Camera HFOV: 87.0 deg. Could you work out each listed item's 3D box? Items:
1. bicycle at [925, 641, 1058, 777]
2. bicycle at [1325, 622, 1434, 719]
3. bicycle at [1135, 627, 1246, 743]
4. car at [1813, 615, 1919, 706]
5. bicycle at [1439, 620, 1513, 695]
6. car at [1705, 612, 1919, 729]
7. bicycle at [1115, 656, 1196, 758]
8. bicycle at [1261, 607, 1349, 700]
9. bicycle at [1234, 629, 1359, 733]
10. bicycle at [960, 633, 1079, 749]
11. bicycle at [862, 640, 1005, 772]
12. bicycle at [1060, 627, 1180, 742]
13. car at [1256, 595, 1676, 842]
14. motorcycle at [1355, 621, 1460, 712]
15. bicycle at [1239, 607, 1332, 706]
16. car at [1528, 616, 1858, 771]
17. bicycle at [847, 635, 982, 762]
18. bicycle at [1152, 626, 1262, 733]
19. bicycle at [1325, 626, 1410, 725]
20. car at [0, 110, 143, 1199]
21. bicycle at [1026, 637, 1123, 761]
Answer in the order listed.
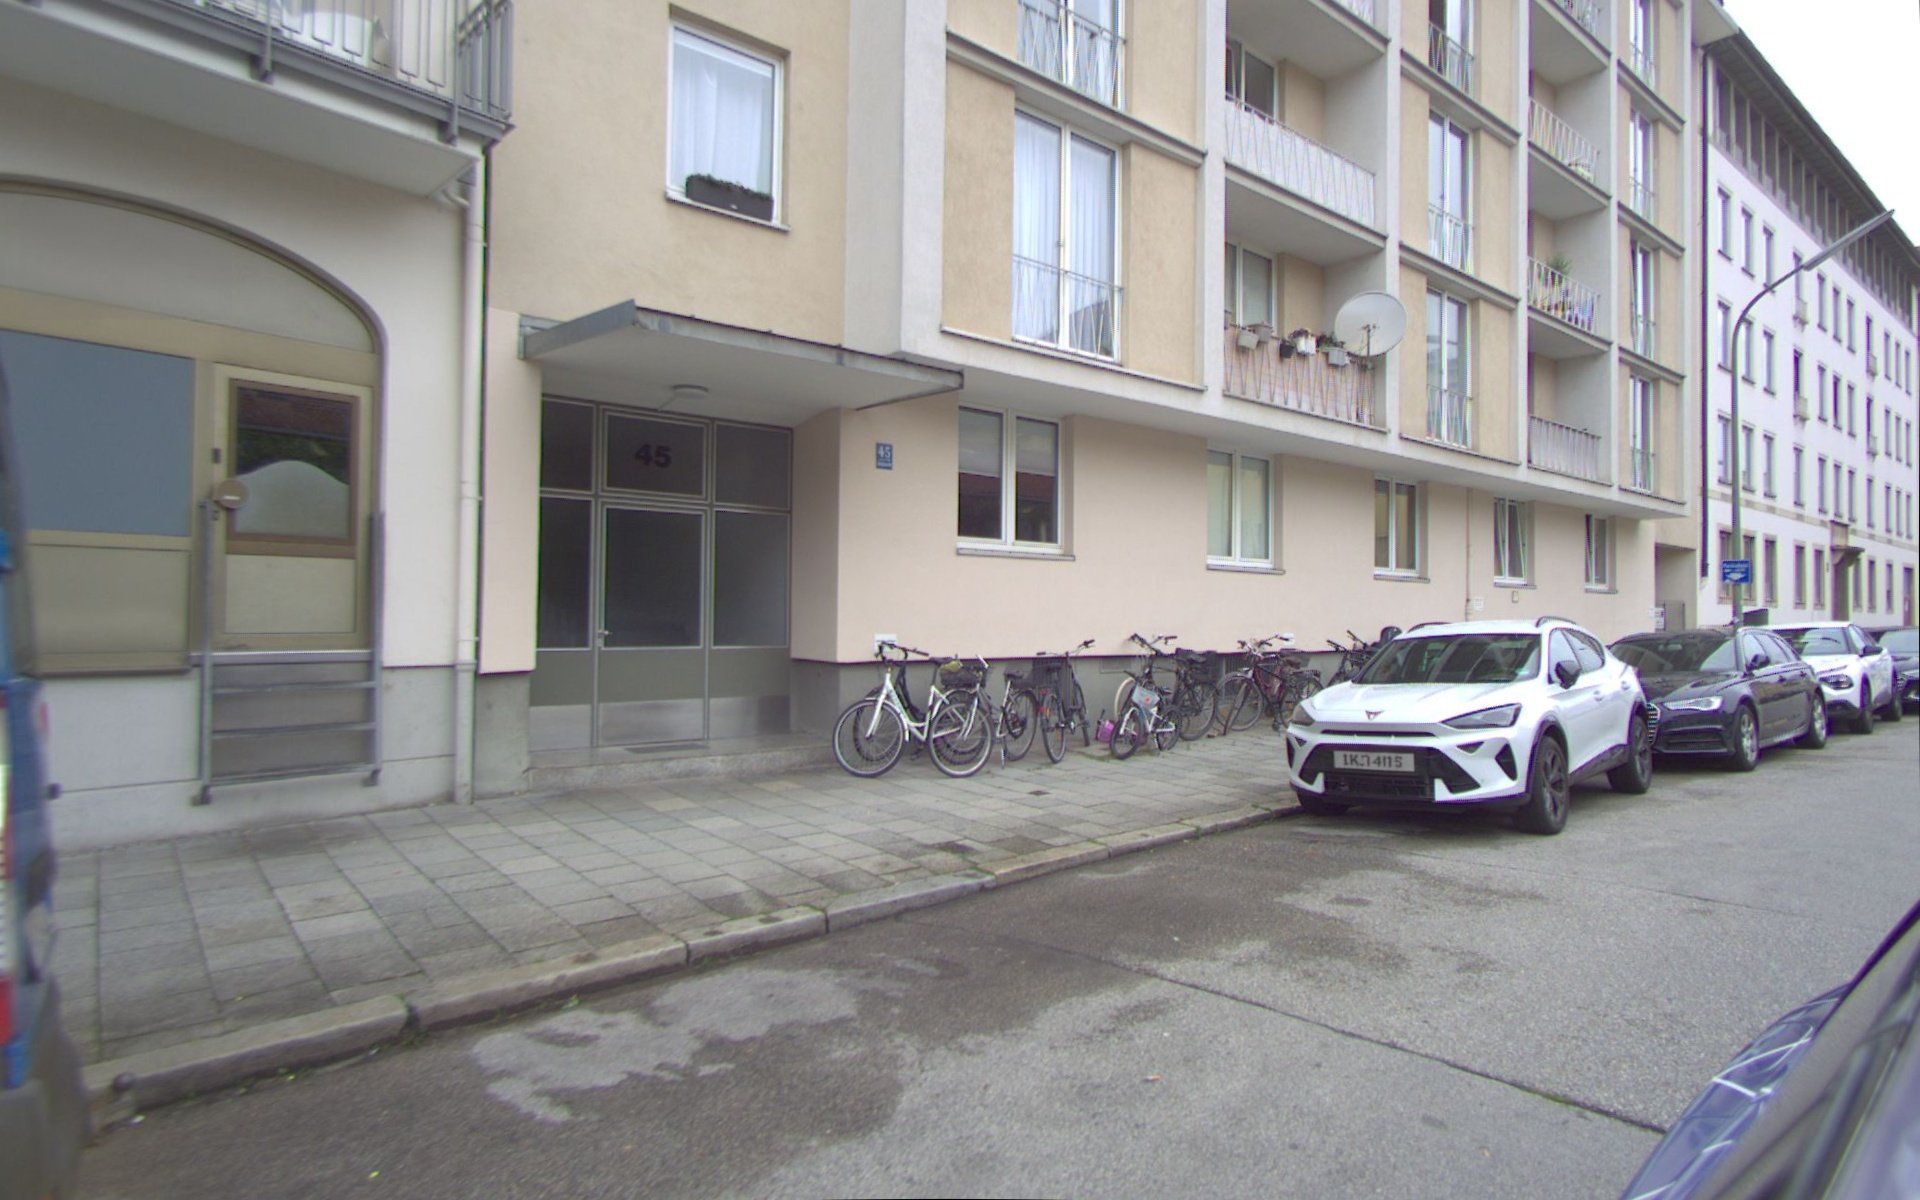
[{"bbox_3d":[0.310,0.975,9.427,1.324,1.115,0.391,0,3,-44],"label":"bicycle"},{"bbox_3d":[5.975,0.981,14.458,1.335,1.216,0.388,4,3,39],"label":"bicycle"},{"bbox_3d":[2.619,0.938,11.480,1.257,1.216,0.415,1,2,-32],"label":"bicycle"},{"bbox_3d":[16.367,0.988,17.276,4.408,1.400,1.831,1,-4,-38],"label":"car"},{"bbox_3d":[8.634,0.940,16.911,1.572,1.171,0.515,1,0,-40],"label":"bicycle"},{"bbox_3d":[12.578,0.980,14.815,4.047,1.488,1.704,1,-5,-40],"label":"car"},{"bbox_3d":[2.081,1.100,10.703,0.444,0.905,1.185,3,3,31],"label":"bicycle"},{"bbox_3d":[4.800,0.718,14.063,1.316,1.216,0.394,0,3,-33],"label":"bicycle"},{"bbox_3d":[4.175,0.980,12.535,1.534,1.216,0.399,1,2,-23],"label":"bicycle"},{"bbox_3d":[0.647,0.934,10.754,1.322,1.115,0.370,0,3,-38],"label":"bicycle"},{"bbox_3d":[-0.233,0.966,9.575,1.362,1.115,0.370,0,3,-38],"label":"bicycle"},{"bbox_3d":[1.858,0.947,11.681,1.367,1.216,0.448,1,2,-32],"label":"bicycle"},{"bbox_3d":[4.397,0.852,8.472,4.232,1.543,1.776,2,-6,-44],"label":"car"},{"bbox_3d":[6.888,0.980,15.529,2.004,1.287,0.637,1,0,-40],"label":"motorcycle"},{"bbox_3d":[4.248,0.710,13.189,1.260,1.216,0.418,0,3,-35],"label":"bicycle"},{"bbox_3d":[8.507,0.970,11.594,4.607,1.448,1.775,1,-5,-38],"label":"car"},{"bbox_3d":[-0.426,0.928,9.908,1.322,1.115,0.370,0,3,-38],"label":"bicycle"},{"bbox_3d":[3.045,0.949,12.437,1.367,1.216,0.448,1,2,-32],"label":"bicycle"},{"bbox_3d":[5.481,0.985,13.589,1.346,1.216,0.447,0,3,-41],"label":"bicycle"},{"bbox_3d":[-3.964,0.399,0.829,4.947,2.242,2.109,-2,-4,-45],"label":"car"},{"bbox_3d":[1.200,0.982,10.439,0.393,1.115,1.286,3,3,35],"label":"bicycle"}]
